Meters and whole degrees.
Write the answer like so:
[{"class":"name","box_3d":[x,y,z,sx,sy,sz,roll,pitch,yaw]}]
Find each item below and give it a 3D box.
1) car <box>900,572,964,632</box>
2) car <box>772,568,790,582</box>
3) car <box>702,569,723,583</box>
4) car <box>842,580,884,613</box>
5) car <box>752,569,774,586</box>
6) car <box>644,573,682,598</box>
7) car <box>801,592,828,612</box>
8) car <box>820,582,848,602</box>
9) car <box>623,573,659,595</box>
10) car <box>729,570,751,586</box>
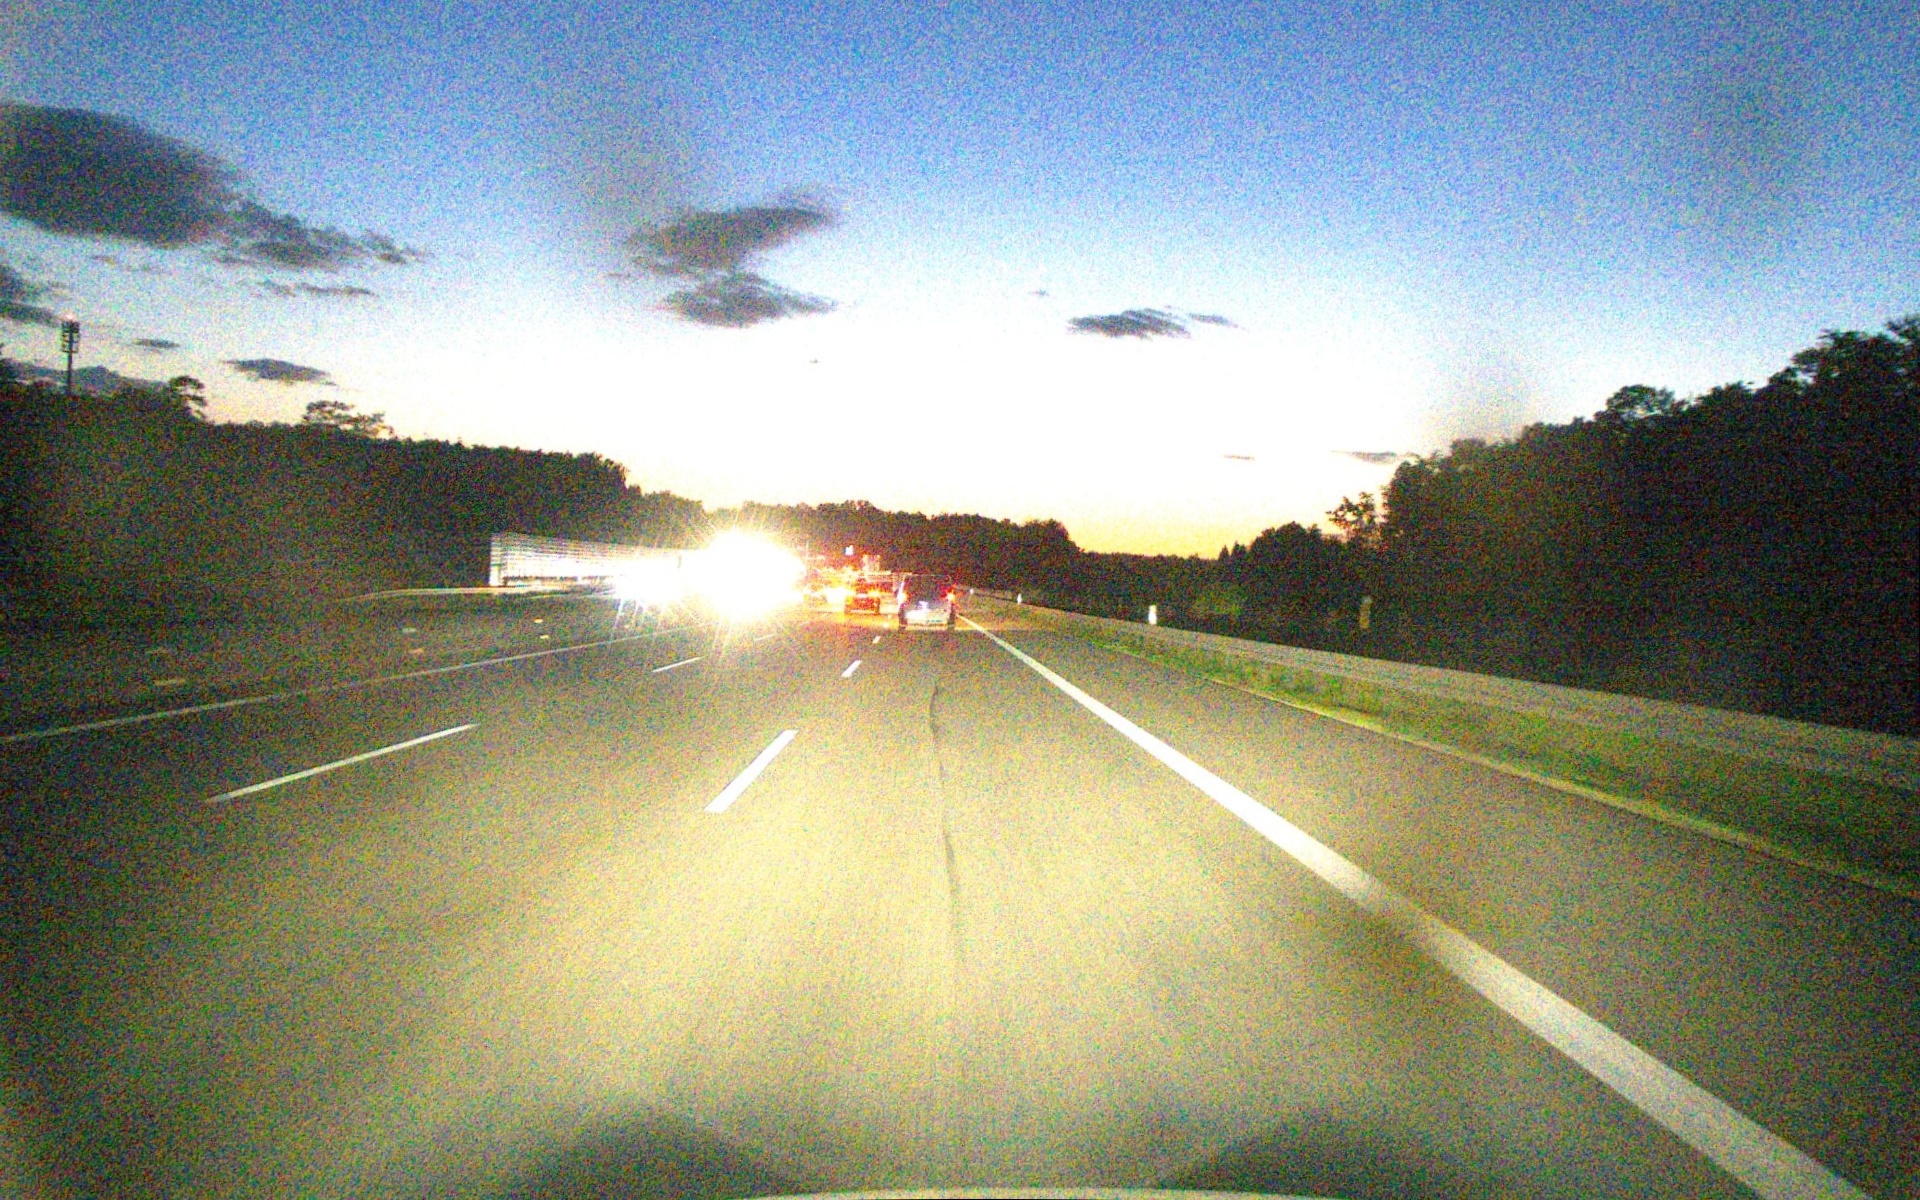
[{"class":"car","box_3d":[-1.010,0.040,57.994,2.152,1.989,4.762,0,1,-2]},{"class":"car","box_3d":[-24.416,-3.374,225.642,2.062,1.820,4.868,1,1,-2]},{"class":"car","box_3d":[-32.335,-3.133,216.375,2.062,1.820,4.867,1,0,-2]},{"class":"car","box_3d":[-5.240,-0.184,90.289,1.953,1.751,5.941,0,0,0]},{"class":"car","box_3d":[-22.127,-2.552,185.836,2.062,1.820,4.318,1,0,-2]},{"class":"car","box_3d":[-22.315,-1.068,124.506,2.062,1.820,4.657,1,0,-2]},{"class":"car","box_3d":[-10.800,0.157,123.027,1.518,1.456,5.513,0,0,0]},{"class":"car","box_3d":[-10.251,-0.669,134.846,1.743,1.513,5.254,-1,1,0]},{"class":"car","box_3d":[-26.916,-1.312,139.756,2.062,1.717,5.385,1,0,-2]},{"class":"car","box_3d":[-26.242,-2.603,197.054,2.062,1.820,4.868,1,1,-2]}]
